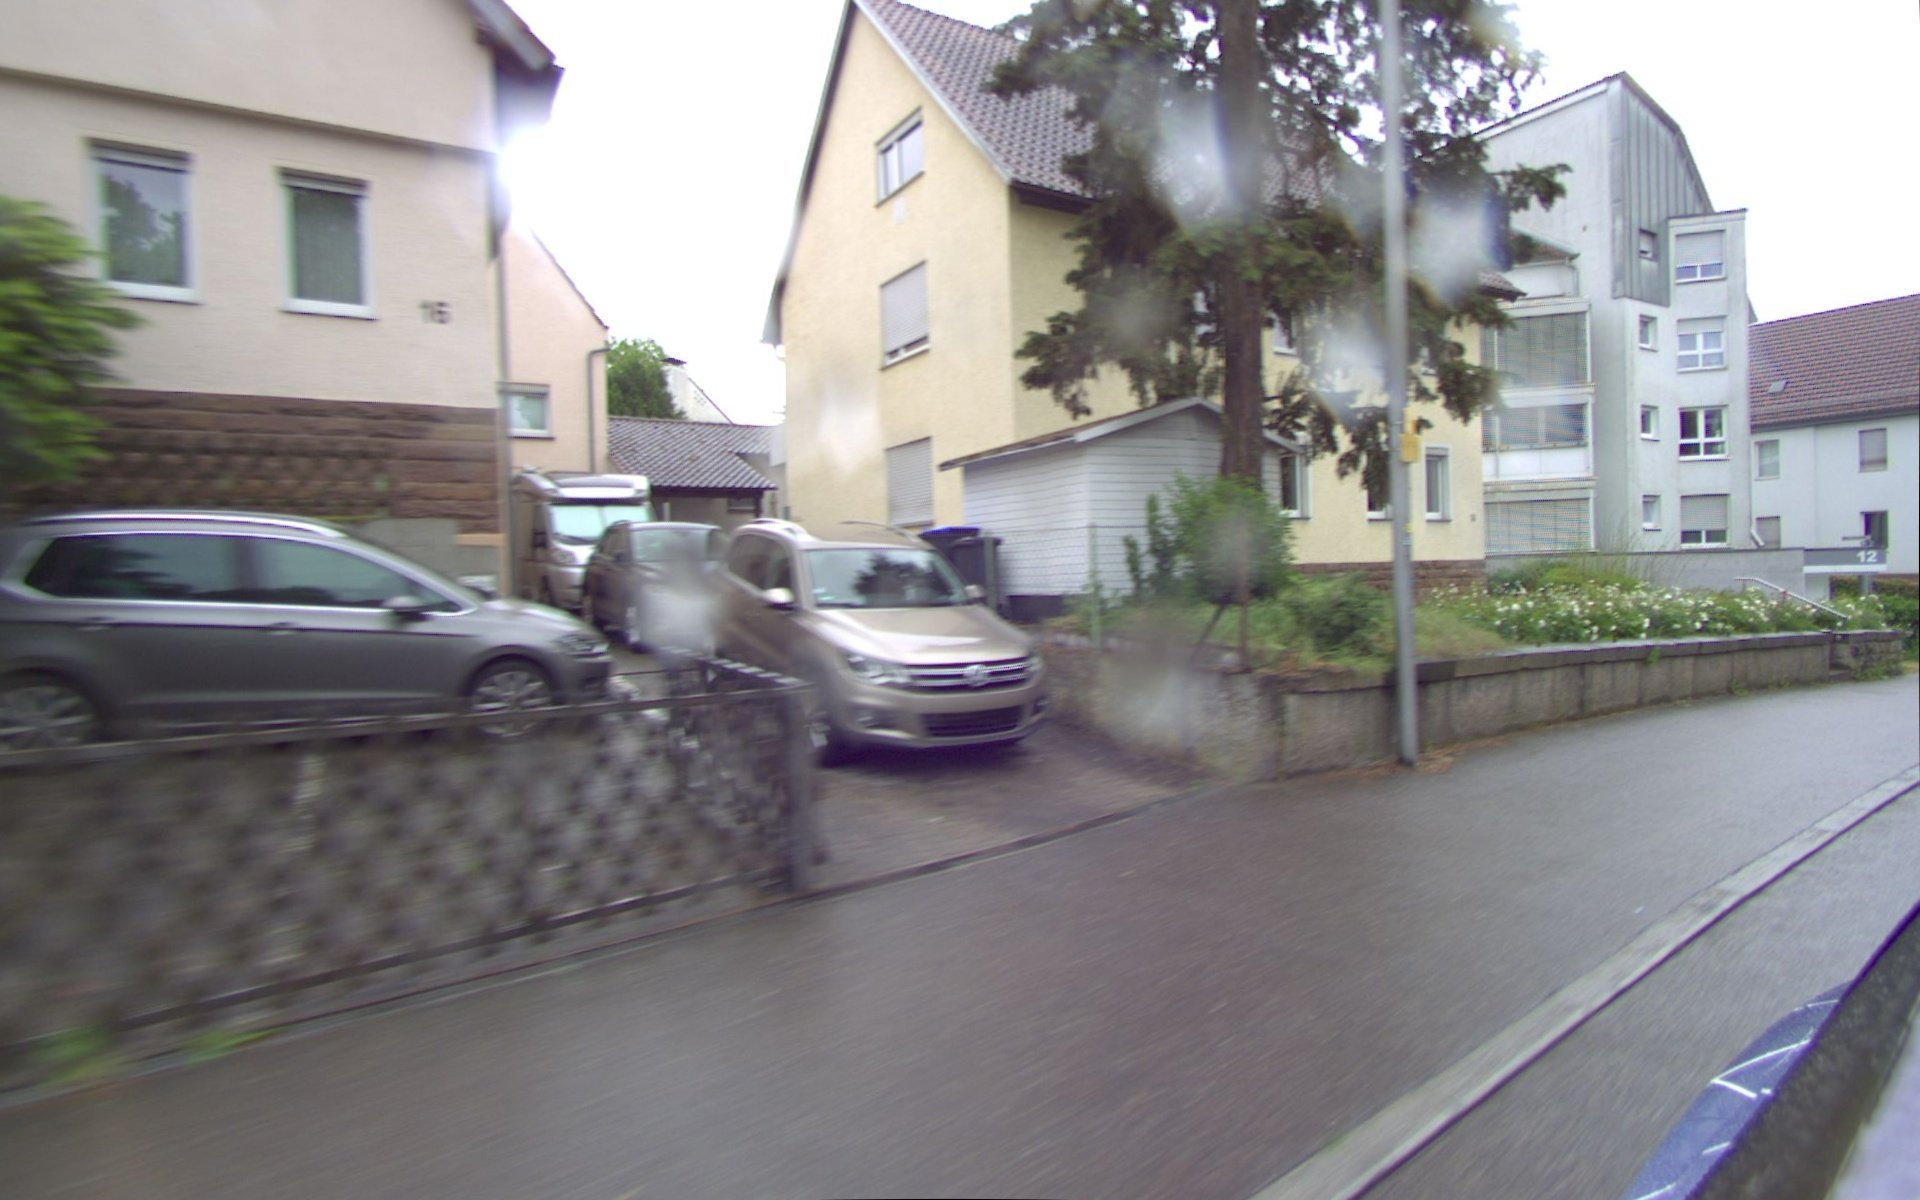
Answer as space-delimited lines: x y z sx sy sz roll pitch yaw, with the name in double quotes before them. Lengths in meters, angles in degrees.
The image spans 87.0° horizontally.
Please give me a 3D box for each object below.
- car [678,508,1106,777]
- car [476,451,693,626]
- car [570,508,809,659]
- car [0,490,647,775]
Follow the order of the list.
"car" -0.872 0.213 8.656 1.924 1.674 4.336 0 1 -30
"car" -7.265 -1.152 18.998 2.257 2.726 6.280 0 3 -35
"car" -3.713 -0.297 13.390 1.925 1.673 3.869 0 3 -33
"car" -4.654 0.168 7.612 4.064 1.674 1.903 0 1 -31
